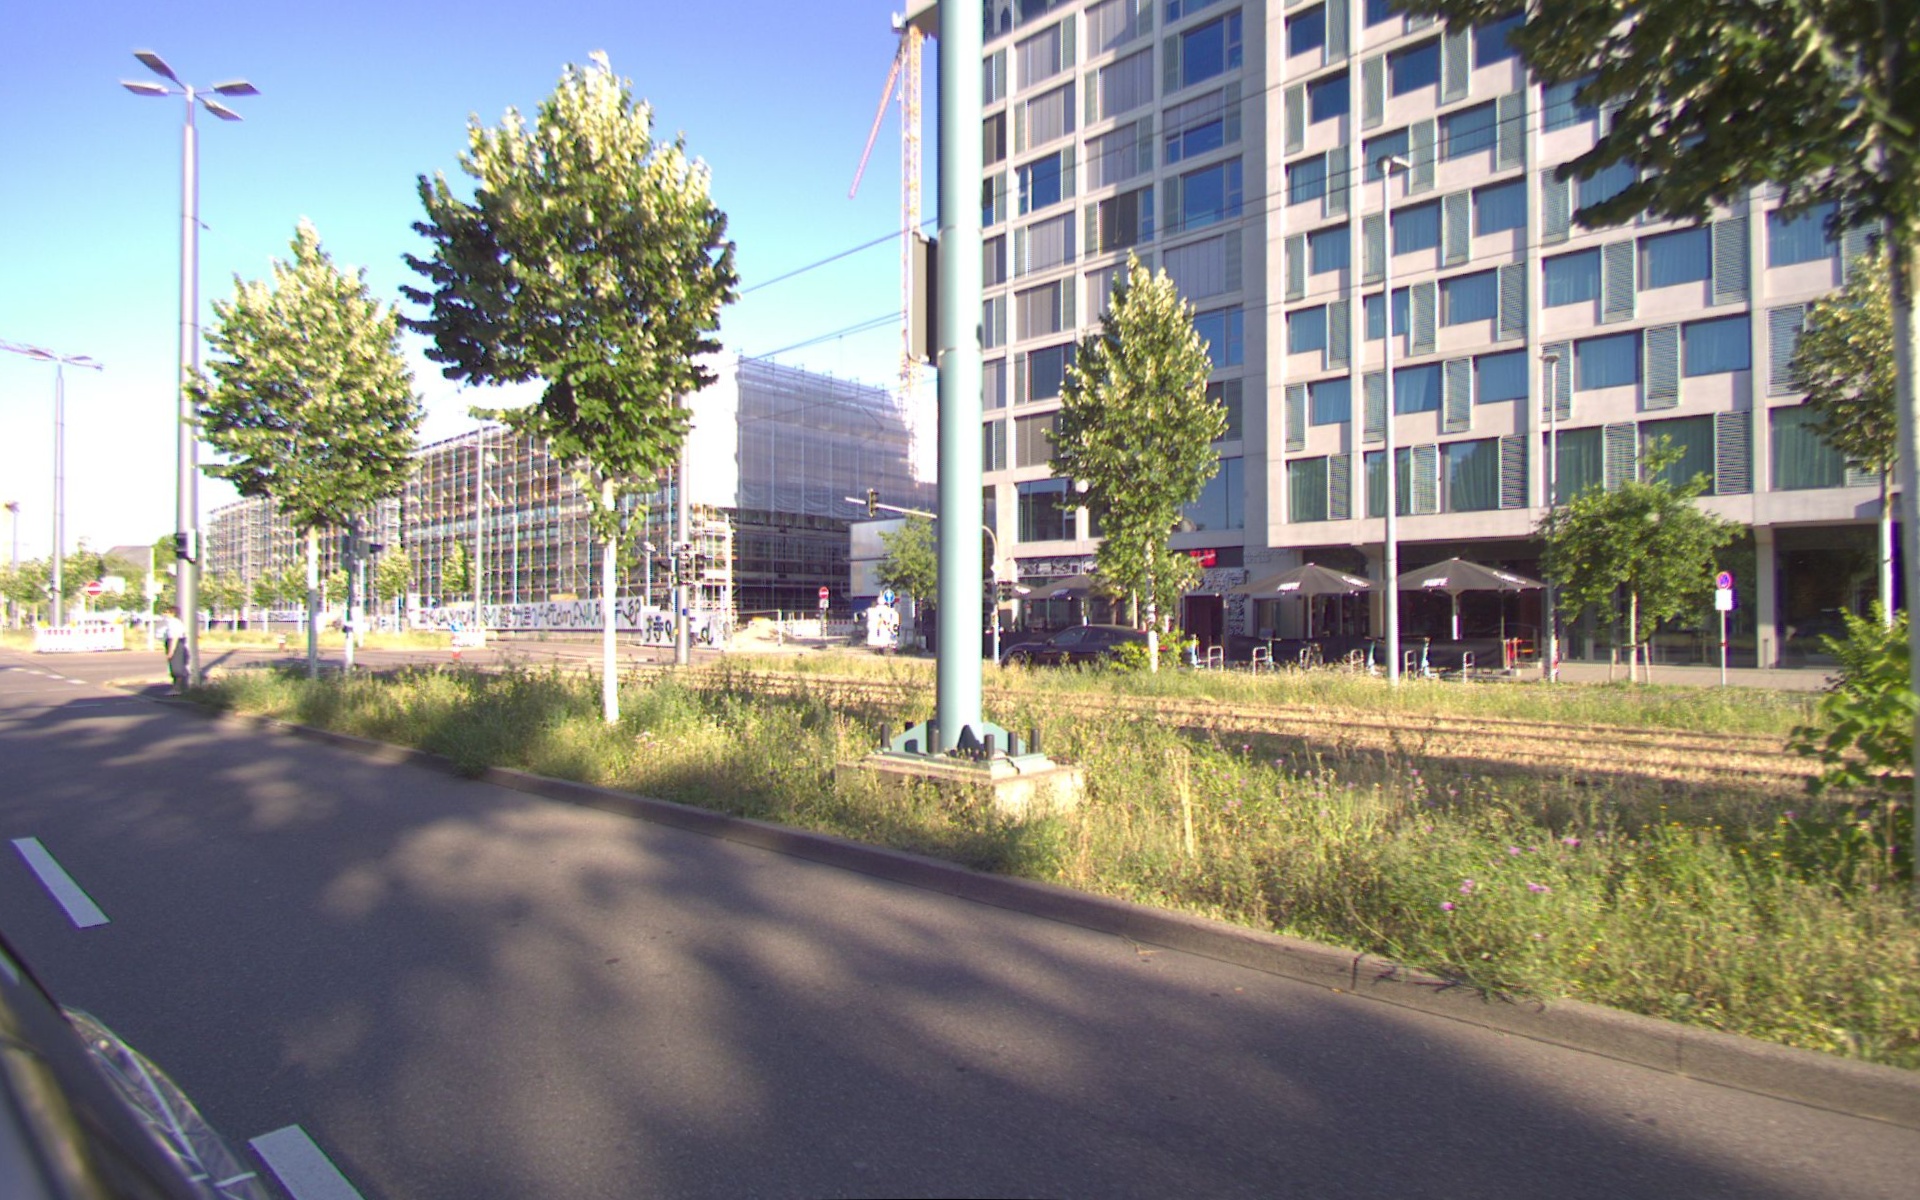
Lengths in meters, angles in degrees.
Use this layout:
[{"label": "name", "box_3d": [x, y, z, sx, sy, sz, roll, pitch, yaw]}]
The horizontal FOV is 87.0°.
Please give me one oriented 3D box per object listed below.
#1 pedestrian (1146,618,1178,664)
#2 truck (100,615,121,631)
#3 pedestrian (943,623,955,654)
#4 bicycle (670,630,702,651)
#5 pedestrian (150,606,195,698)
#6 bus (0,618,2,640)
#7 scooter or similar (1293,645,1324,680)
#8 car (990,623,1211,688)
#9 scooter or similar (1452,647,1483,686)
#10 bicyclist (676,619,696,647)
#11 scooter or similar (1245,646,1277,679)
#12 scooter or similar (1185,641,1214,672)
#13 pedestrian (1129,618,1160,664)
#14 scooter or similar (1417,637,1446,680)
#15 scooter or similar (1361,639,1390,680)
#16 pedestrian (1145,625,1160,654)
[{"label": "pedestrian", "box_3d": [7.670, 1.551, 38.475, 0.858, 1.734, 0.805, 1, -2, -39]}, {"label": "truck", "box_3d": [-140.739, 3.866, 167.665, 4.740, 2.593, 2.114, -2, -2, 43]}, {"label": "pedestrian", "box_3d": [-0.514, 1.851, 48.796, 0.568, 1.510, 0.588, 0, -1, -2]}, {"label": "bicycle", "box_3d": [-14.453, 2.147, 53.341, 2.077, 1.075, 0.618, -1, -2, 42]}, {"label": "pedestrian", "box_3d": [-15.011, 0.983, 19.295, 0.591, 1.712, 0.715, 1, -2, -43]}, {"label": "bus", "box_3d": [-141.234, 4.239, 147.216, 2.685, 3.247, 8.662, 1, -2, -44]}, {"label": "scooter or similar", "box_3d": [10.683, 1.903, 31.029, 0.435, 1.027, 1.230, -2, -2, 42]}, {"label": "car", "box_3d": [3.154, 1.208, 23.419, 4.848, 1.354, 1.871, -1, -2, 41]}, {"label": "scooter or similar", "box_3d": [14.013, 1.824, 27.937, 0.435, 1.027, 1.230, -2, -2, 42]}, {"label": "bicyclist", "box_3d": [-14.445, 1.741, 53.336, 0.851, 1.476, 0.618, -1, -2, 42]}, {"label": "scooter or similar", "box_3d": [9.531, 1.969, 32.028, 0.511, 1.027, 1.230, -2, -2, 42]}, {"label": "scooter or similar", "box_3d": [8.019, 1.875, 33.924, 0.406, 1.014, 1.230, -2, -2, 42]}, {"label": "pedestrian", "box_3d": [7.129, 1.564, 39.063, 0.858, 1.734, 0.805, 1, -2, -39]}, {"label": "scooter or similar", "box_3d": [13.464, 1.658, 28.892, 0.406, 1.181, 1.230, -2, -2, 42]}, {"label": "scooter or similar", "box_3d": [12.310, 1.747, 29.984, 0.406, 1.181, 1.230, -2, -2, 42]}, {"label": "pedestrian", "box_3d": [8.347, 1.711, 43.898, 0.497, 1.231, 0.427, -2, -2, 42]}]
